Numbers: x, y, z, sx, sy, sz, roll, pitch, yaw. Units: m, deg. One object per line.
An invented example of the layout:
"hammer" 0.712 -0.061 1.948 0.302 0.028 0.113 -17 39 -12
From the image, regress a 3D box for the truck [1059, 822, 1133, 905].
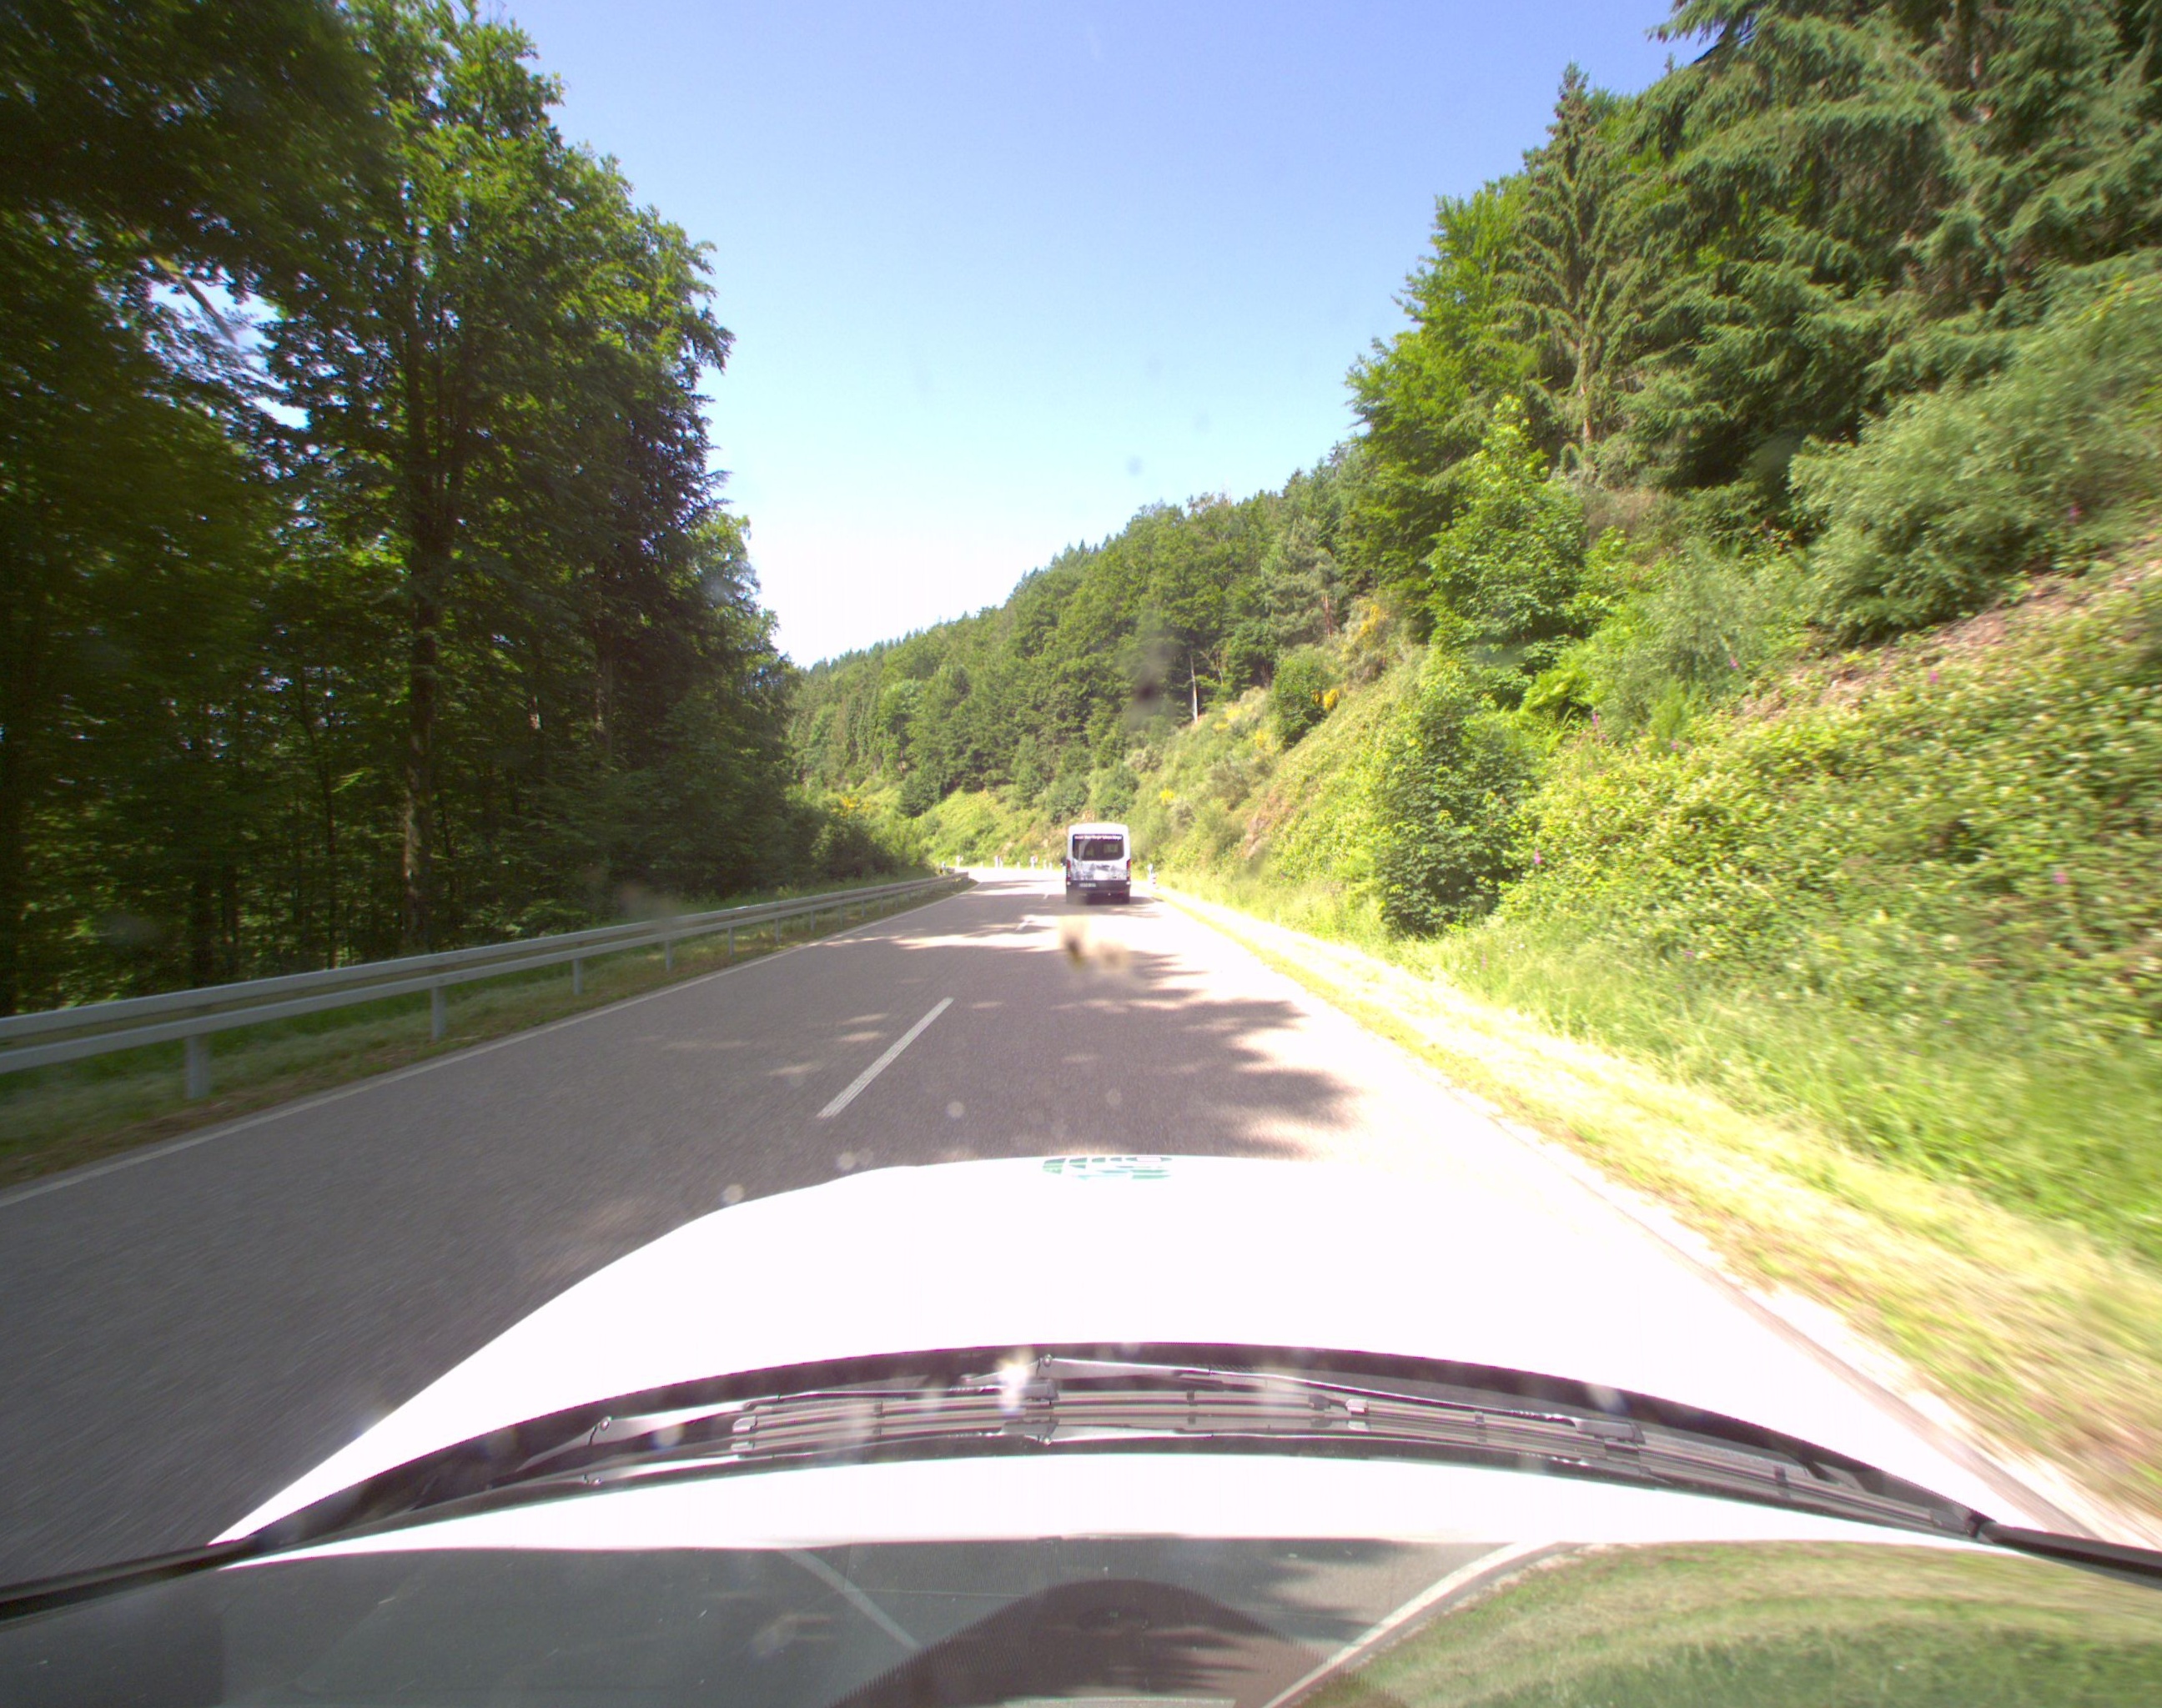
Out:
"truck" 0.384 0.292 26.820 2.079 2.459 4.870 -1 0 -3
